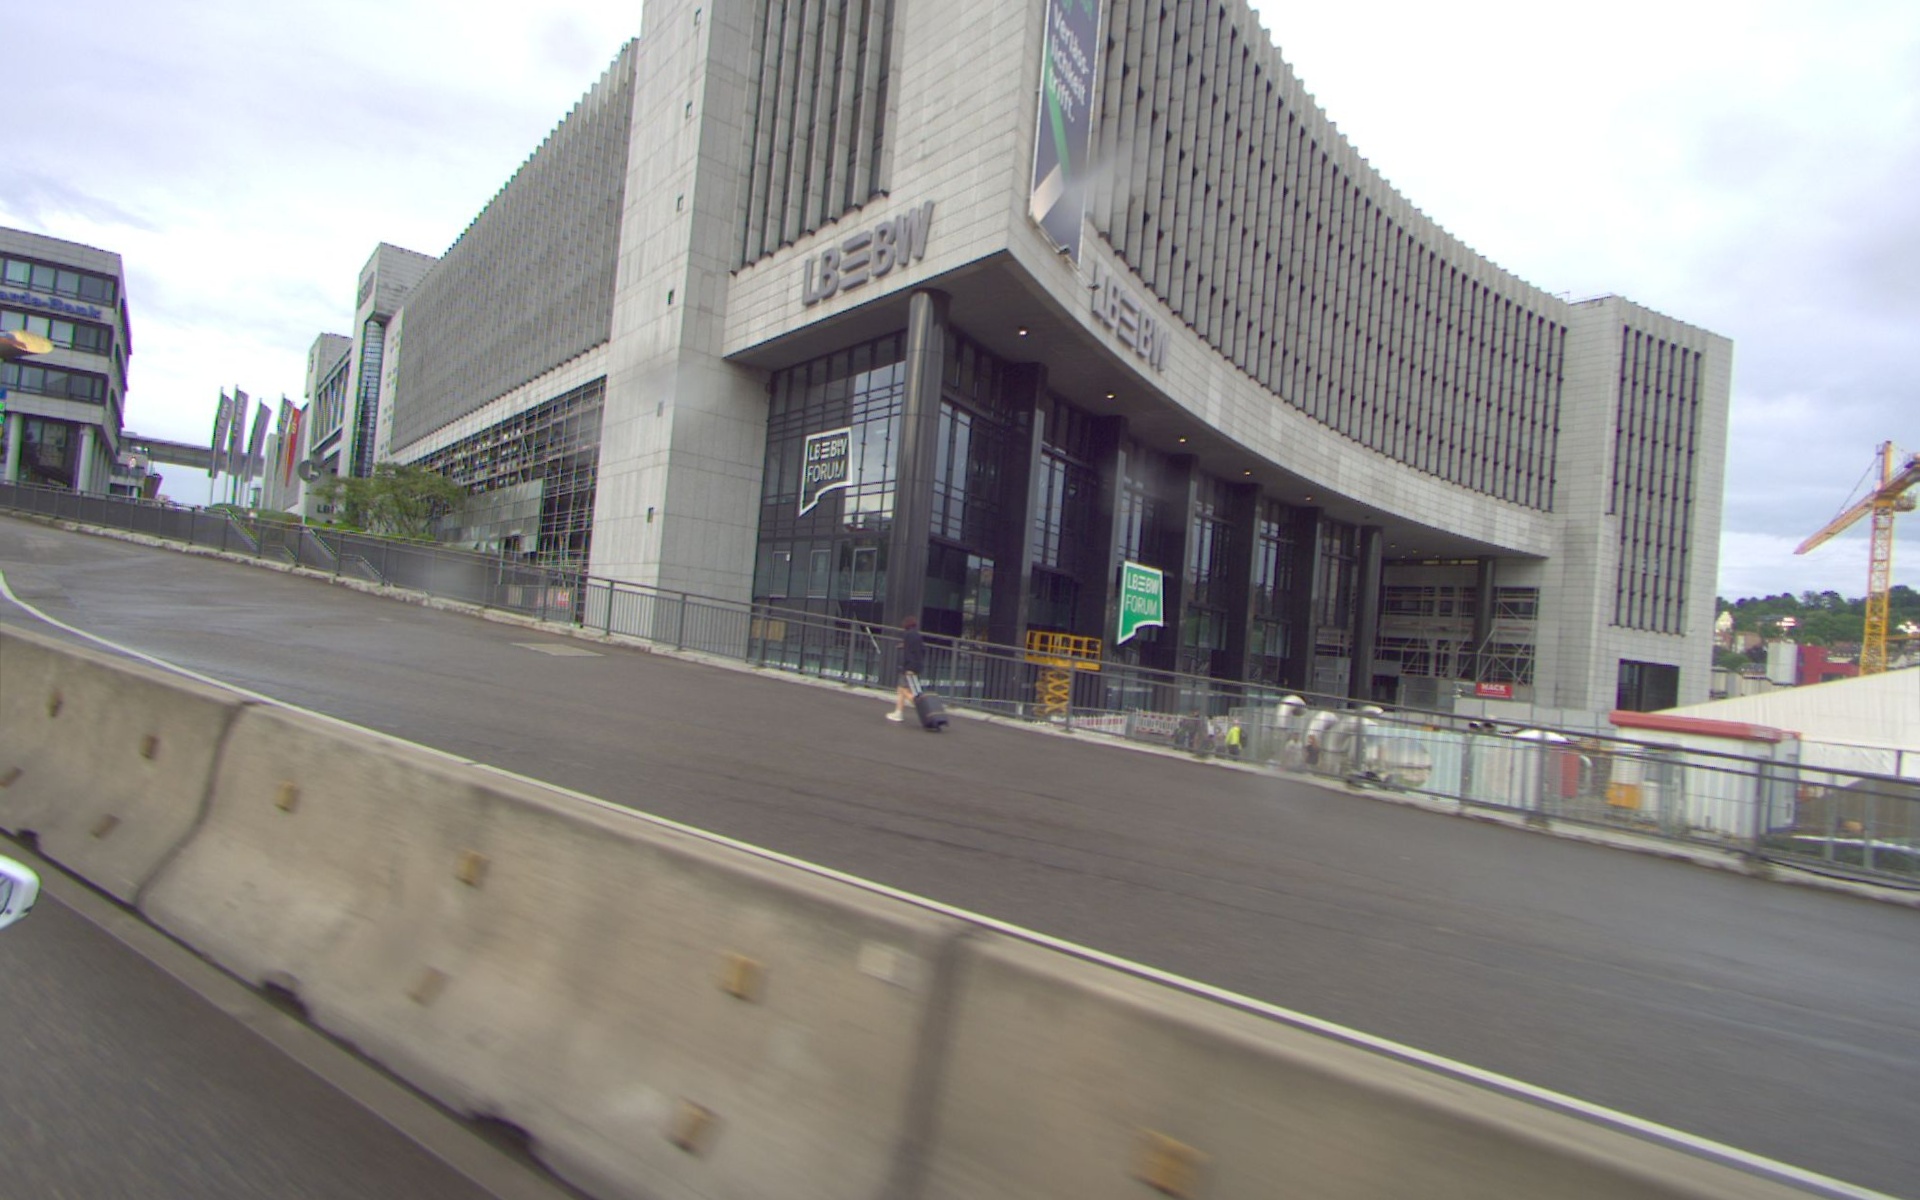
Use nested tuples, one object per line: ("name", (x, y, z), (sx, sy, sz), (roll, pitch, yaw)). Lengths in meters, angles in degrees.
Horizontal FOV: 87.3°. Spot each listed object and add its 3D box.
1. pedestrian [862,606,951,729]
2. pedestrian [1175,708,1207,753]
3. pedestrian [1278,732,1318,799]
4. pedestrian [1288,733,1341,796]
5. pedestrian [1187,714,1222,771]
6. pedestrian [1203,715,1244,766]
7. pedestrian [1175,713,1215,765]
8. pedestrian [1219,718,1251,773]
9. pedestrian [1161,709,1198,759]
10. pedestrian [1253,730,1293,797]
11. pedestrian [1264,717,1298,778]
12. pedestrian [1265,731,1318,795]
("pedestrian", (-0.799, 0.978, 14.805), (0.724, 1.672, 1.052), (6, 0, -31))
("pedestrian", (9.133, 5.138, 39.724), (0.854, 1.656, 1.007), (5, -1, 28))
("pedestrian", (9.147, 4.475, 27.247), (0.578, 1.656, 0.751), (6, -1, -10))
("pedestrian", (10.268, 4.762, 29.123), (0.859, 1.656, 1.001), (6, -1, -30))
("pedestrian", (7.370, 4.300, 30.344), (0.697, 1.635, 0.562), (6, -1, -26))
("pedestrian", (9.429, 5.031, 36.055), (0.858, 1.656, 1.003), (6, -1, -25))
("pedestrian", (8.311, 4.899, 35.606), (0.855, 1.656, 1.006), (6, -1, -15))
("pedestrian", (9.092, 4.805, 33.307), (0.727, 1.656, 0.654), (5, -1, 0))
("pedestrian", (8.060, 4.925, 36.972), (0.854, 1.656, 1.007), (6, -1, -10))
("pedestrian", (8.434, 4.398, 27.109), (0.594, 1.656, 0.770), (6, -1, -10))
("pedestrian", (10.436, 4.791, 32.737), (0.742, 1.837, 0.641), (5, -1, 0))
("pedestrian", (9.432, 4.638, 28.620), (0.859, 1.656, 1.001), (6, -1, -30))
